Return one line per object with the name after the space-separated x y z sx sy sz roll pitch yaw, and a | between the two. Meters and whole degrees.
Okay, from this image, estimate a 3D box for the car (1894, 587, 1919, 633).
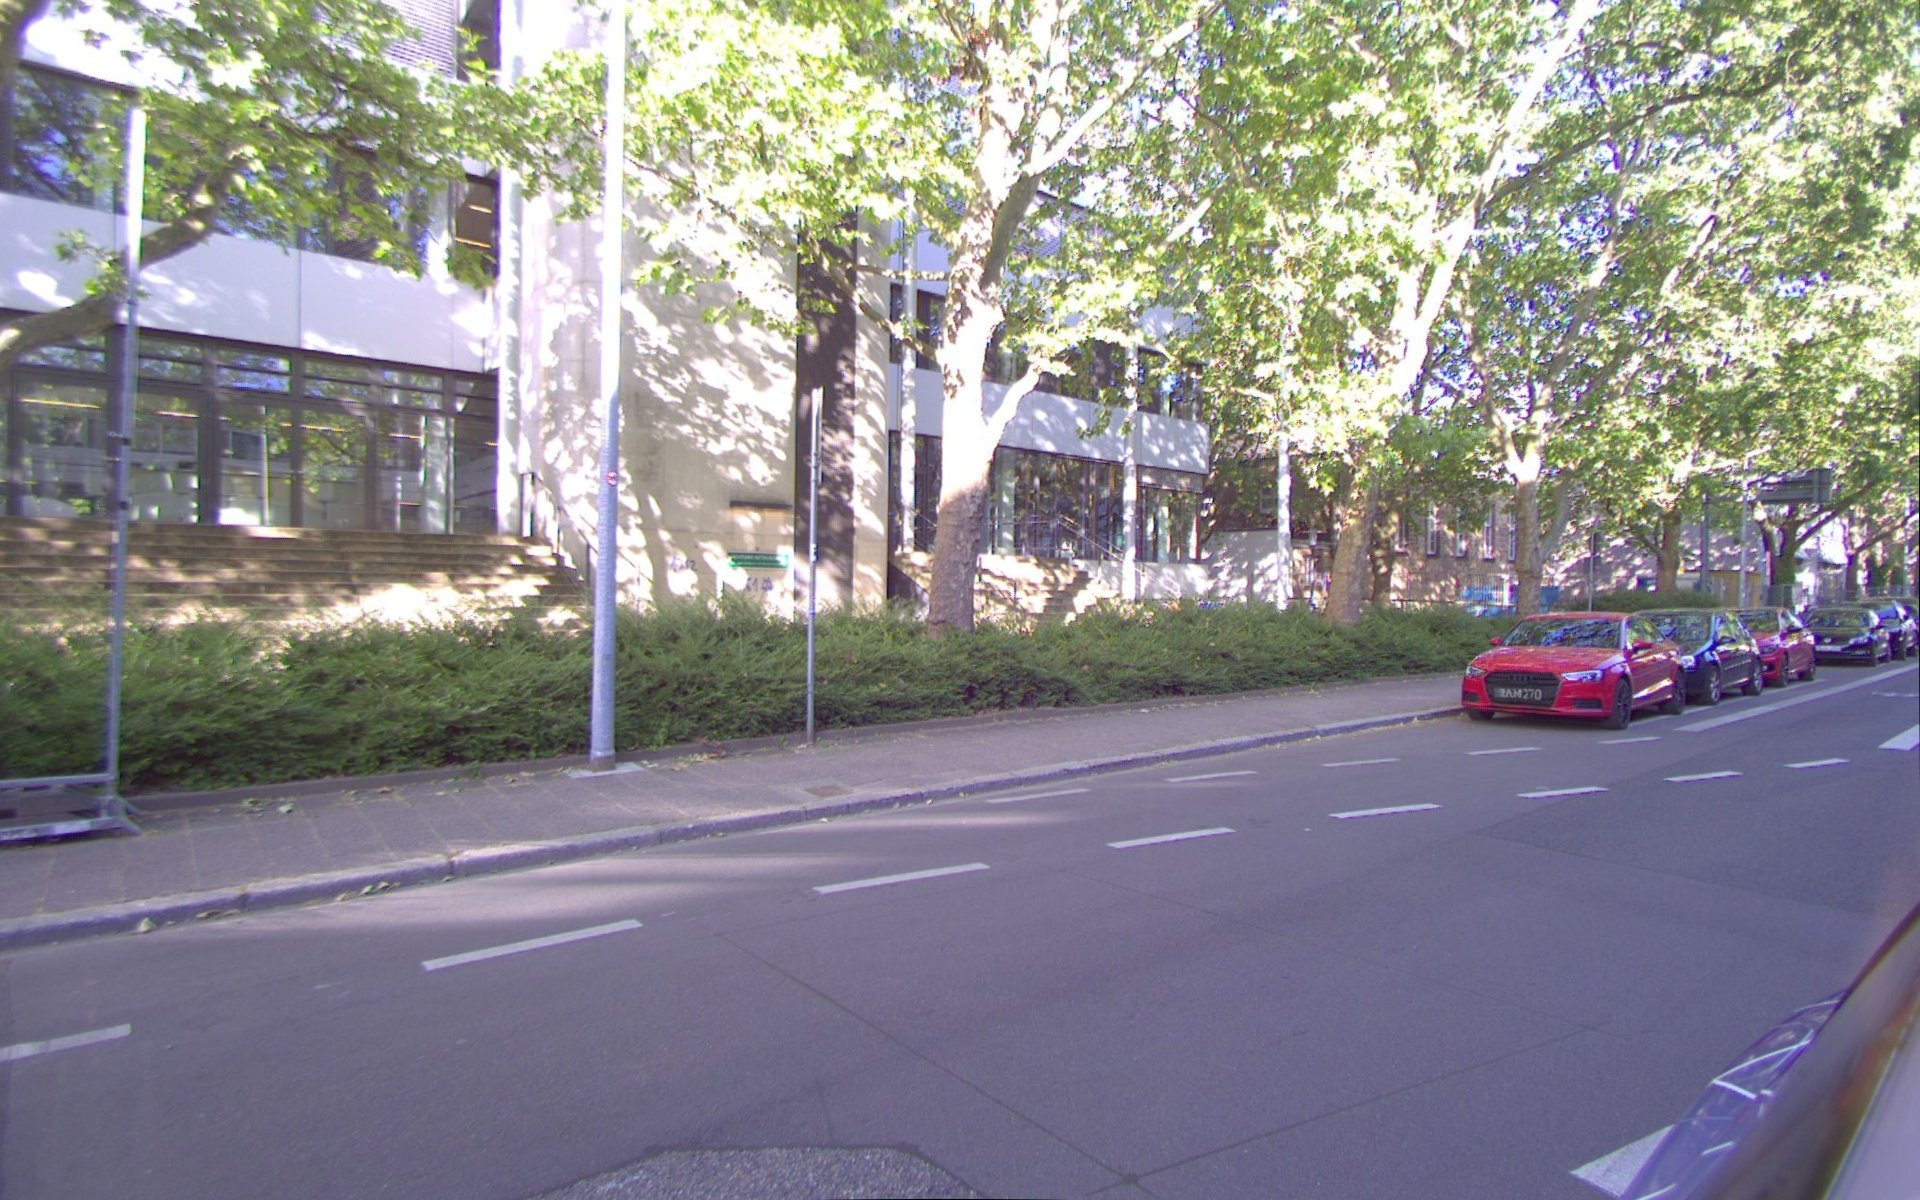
35.740 0.359 37.075 4.004 1.638 1.797 0 1 -41 | car

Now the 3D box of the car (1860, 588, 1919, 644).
31.082 0.479 33.054 4.188 1.747 1.997 -1 0 -41 | car

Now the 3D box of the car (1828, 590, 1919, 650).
26.647 0.522 29.193 4.158 1.601 1.847 0 1 -41 | car

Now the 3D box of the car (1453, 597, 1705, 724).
8.354 0.685 13.517 4.101 1.443 1.773 0 -1 -42 | car

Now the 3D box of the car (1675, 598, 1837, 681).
15.733 0.693 19.940 3.930 1.456 1.789 0 1 -41 | car

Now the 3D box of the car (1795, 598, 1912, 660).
22.983 0.679 25.996 3.930 1.456 1.744 0 1 -41 | car

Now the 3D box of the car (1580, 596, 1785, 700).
11.887 0.683 16.573 3.929 1.475 1.812 0 1 -40 | car
